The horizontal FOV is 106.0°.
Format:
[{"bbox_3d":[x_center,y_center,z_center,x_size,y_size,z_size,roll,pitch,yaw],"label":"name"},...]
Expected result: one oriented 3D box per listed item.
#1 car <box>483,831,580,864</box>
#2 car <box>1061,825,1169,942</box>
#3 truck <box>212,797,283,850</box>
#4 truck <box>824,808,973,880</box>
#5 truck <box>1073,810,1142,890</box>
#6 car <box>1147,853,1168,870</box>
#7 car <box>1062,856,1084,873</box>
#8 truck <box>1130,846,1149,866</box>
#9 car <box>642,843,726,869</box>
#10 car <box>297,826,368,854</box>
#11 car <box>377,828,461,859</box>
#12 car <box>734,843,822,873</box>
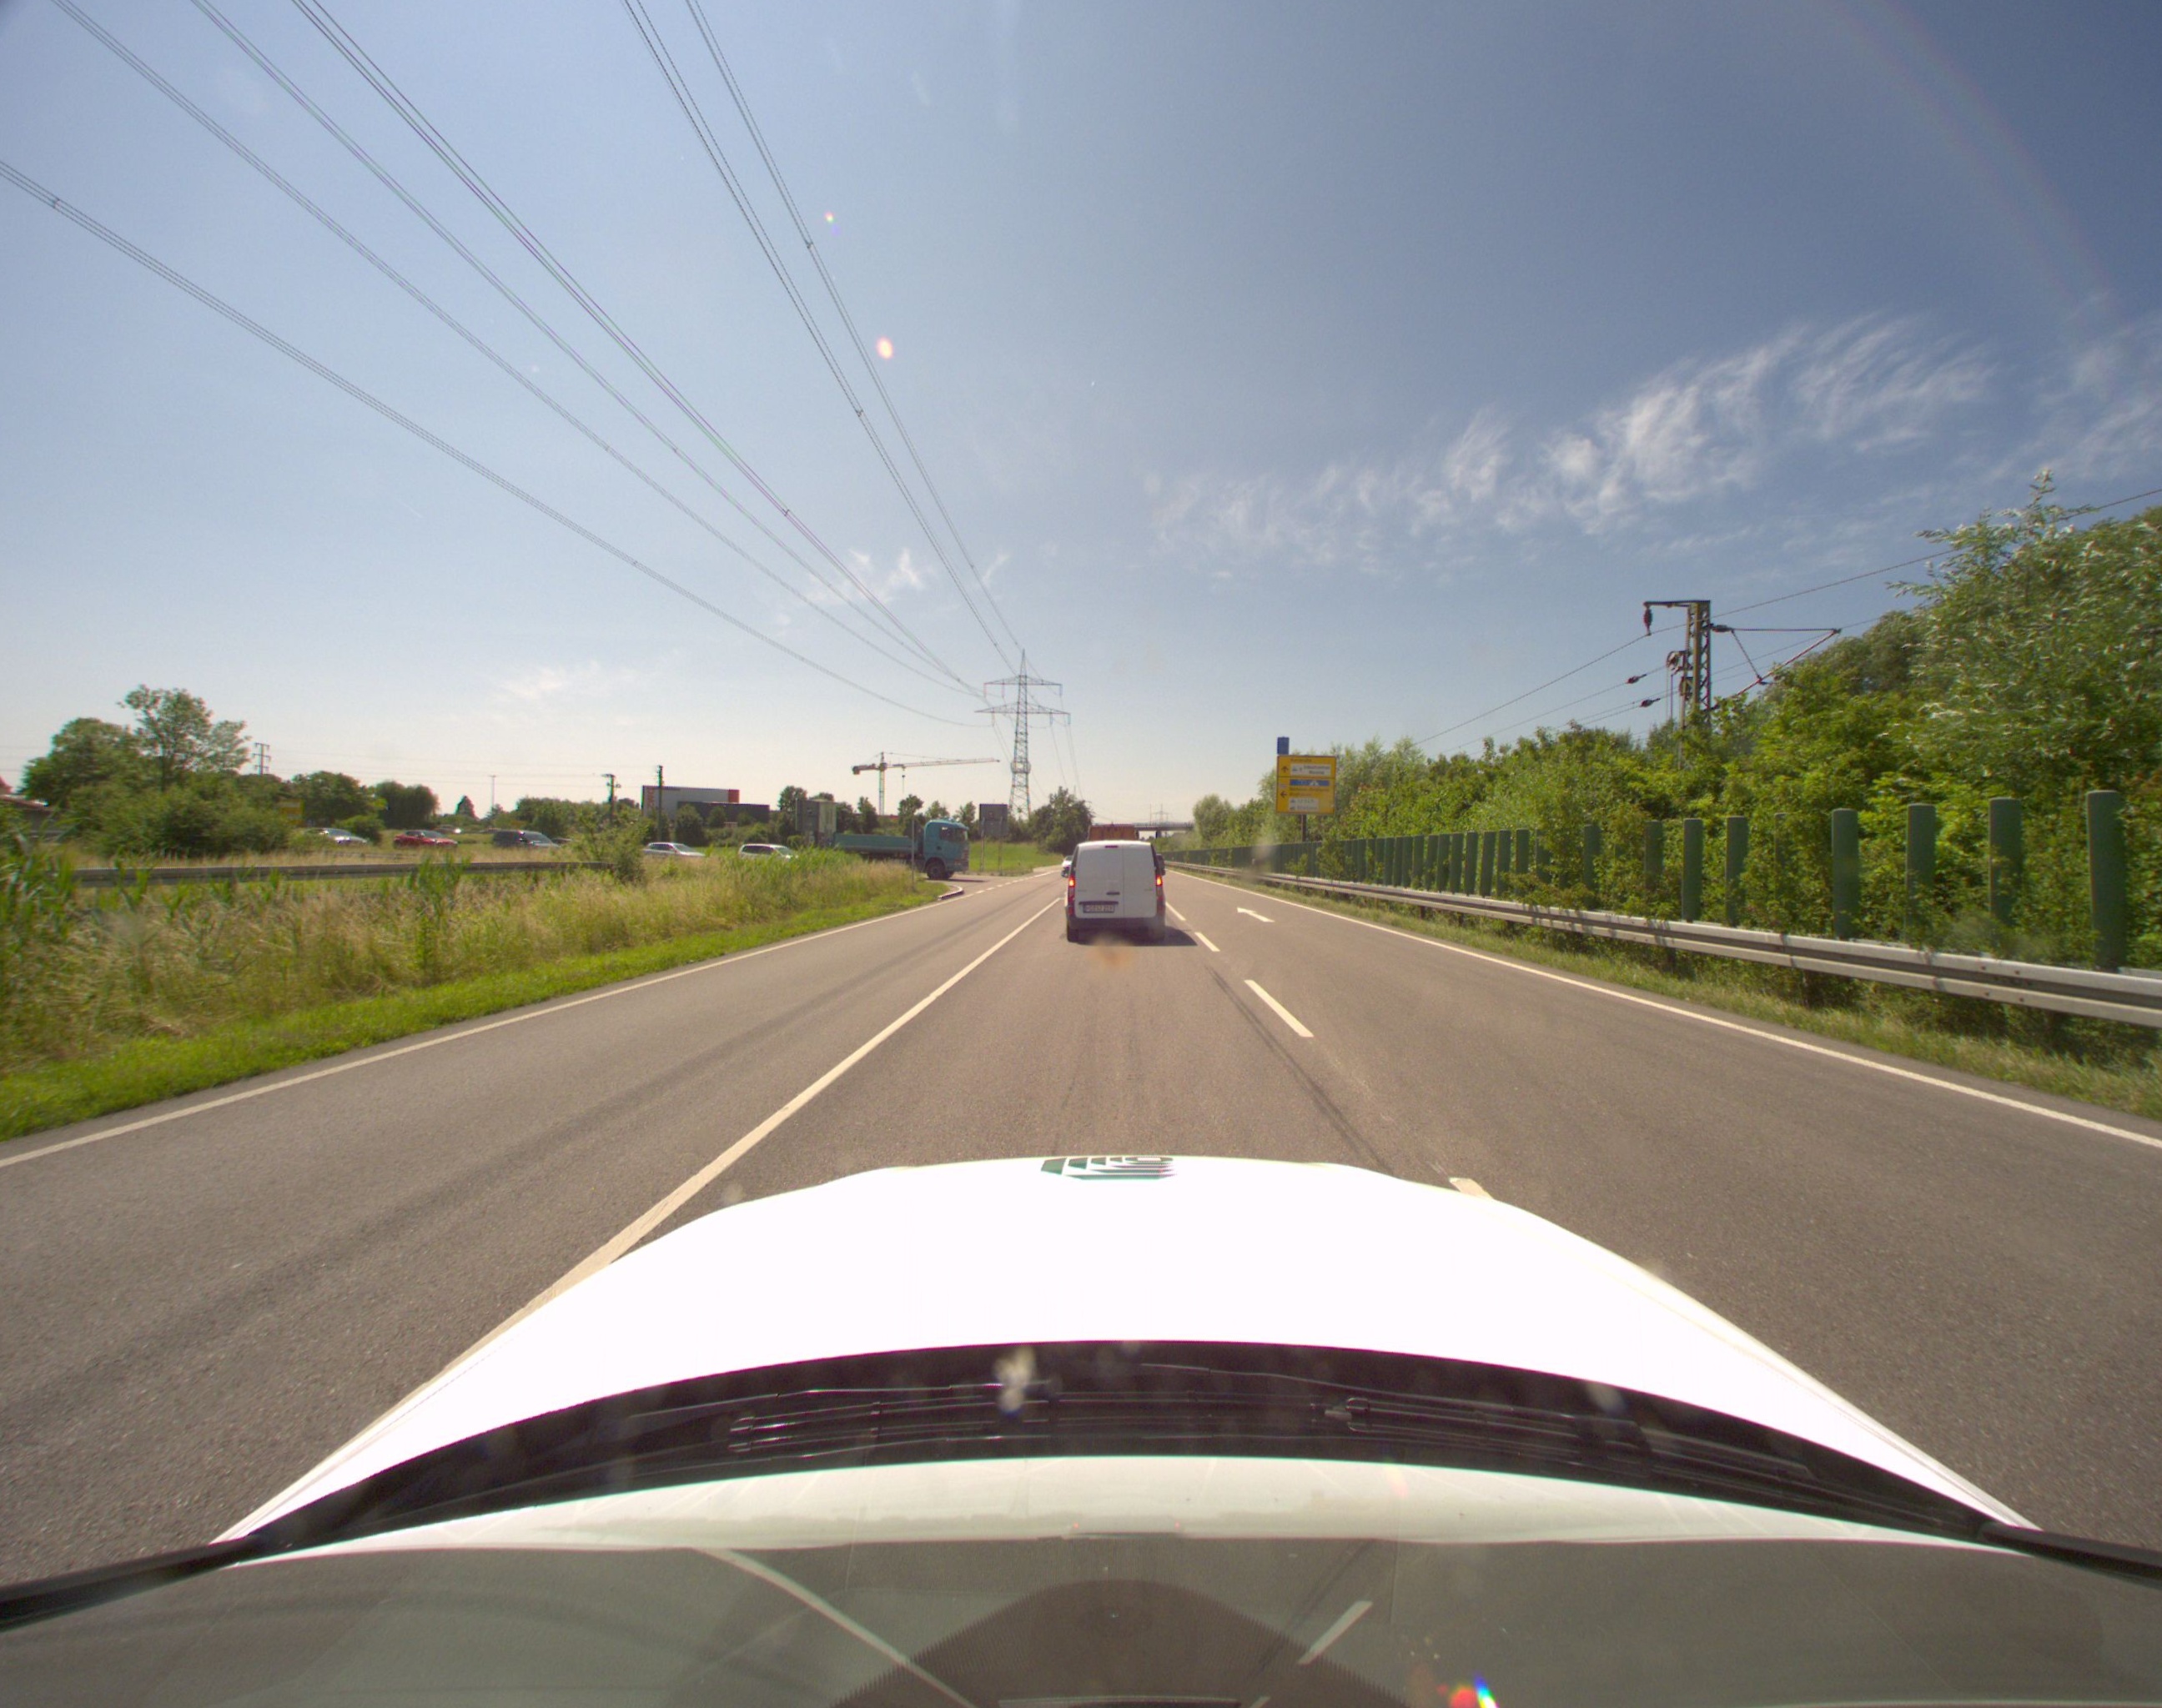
[{"bbox_3d":[-34.386,-0.426,51.020,4.905,1.867,2.095,2,1,11],"label":"car"},{"bbox_3d":[0.653,0.507,15.803,1.820,1.971,4.002,-1,0,2],"label":"car"},{"bbox_3d":[-79.875,-2.786,77.944,13.071,4.646,3.713,1,0,40],"label":"truck"},{"bbox_3d":[-10.477,-0.575,47.157,7.867,3.734,2.501,2,0,4],"label":"truck"},{"bbox_3d":[1.407,-0.220,38.168,2.808,3.288,9.711,0,1,4],"label":"truck"},{"bbox_3d":[7.297,0.713,78.037,1.841,1.574,4.003,-1,0,3],"label":"car"},{"bbox_3d":[-0.709,0.892,73.030,1.718,1.441,4.252,1,0,3],"label":"car"},{"bbox_3d":[8.213,0.233,114.126,2.365,2.689,8.014,1,0,2],"label":"truck"},{"bbox_3d":[-23.811,0.115,48.867,4.401,1.470,1.724,1,0,13],"label":"car"},{"bbox_3d":[-51.958,-0.956,56.547,3.959,1.901,1.665,0,0,13],"label":"car"},{"bbox_3d":[-43.303,-0.682,53.296,4.436,1.849,1.923,1,0,15],"label":"car"},{"bbox_3d":[-17.733,0.232,47.778,4.506,1.612,1.977,1,0,17],"label":"car"}]
